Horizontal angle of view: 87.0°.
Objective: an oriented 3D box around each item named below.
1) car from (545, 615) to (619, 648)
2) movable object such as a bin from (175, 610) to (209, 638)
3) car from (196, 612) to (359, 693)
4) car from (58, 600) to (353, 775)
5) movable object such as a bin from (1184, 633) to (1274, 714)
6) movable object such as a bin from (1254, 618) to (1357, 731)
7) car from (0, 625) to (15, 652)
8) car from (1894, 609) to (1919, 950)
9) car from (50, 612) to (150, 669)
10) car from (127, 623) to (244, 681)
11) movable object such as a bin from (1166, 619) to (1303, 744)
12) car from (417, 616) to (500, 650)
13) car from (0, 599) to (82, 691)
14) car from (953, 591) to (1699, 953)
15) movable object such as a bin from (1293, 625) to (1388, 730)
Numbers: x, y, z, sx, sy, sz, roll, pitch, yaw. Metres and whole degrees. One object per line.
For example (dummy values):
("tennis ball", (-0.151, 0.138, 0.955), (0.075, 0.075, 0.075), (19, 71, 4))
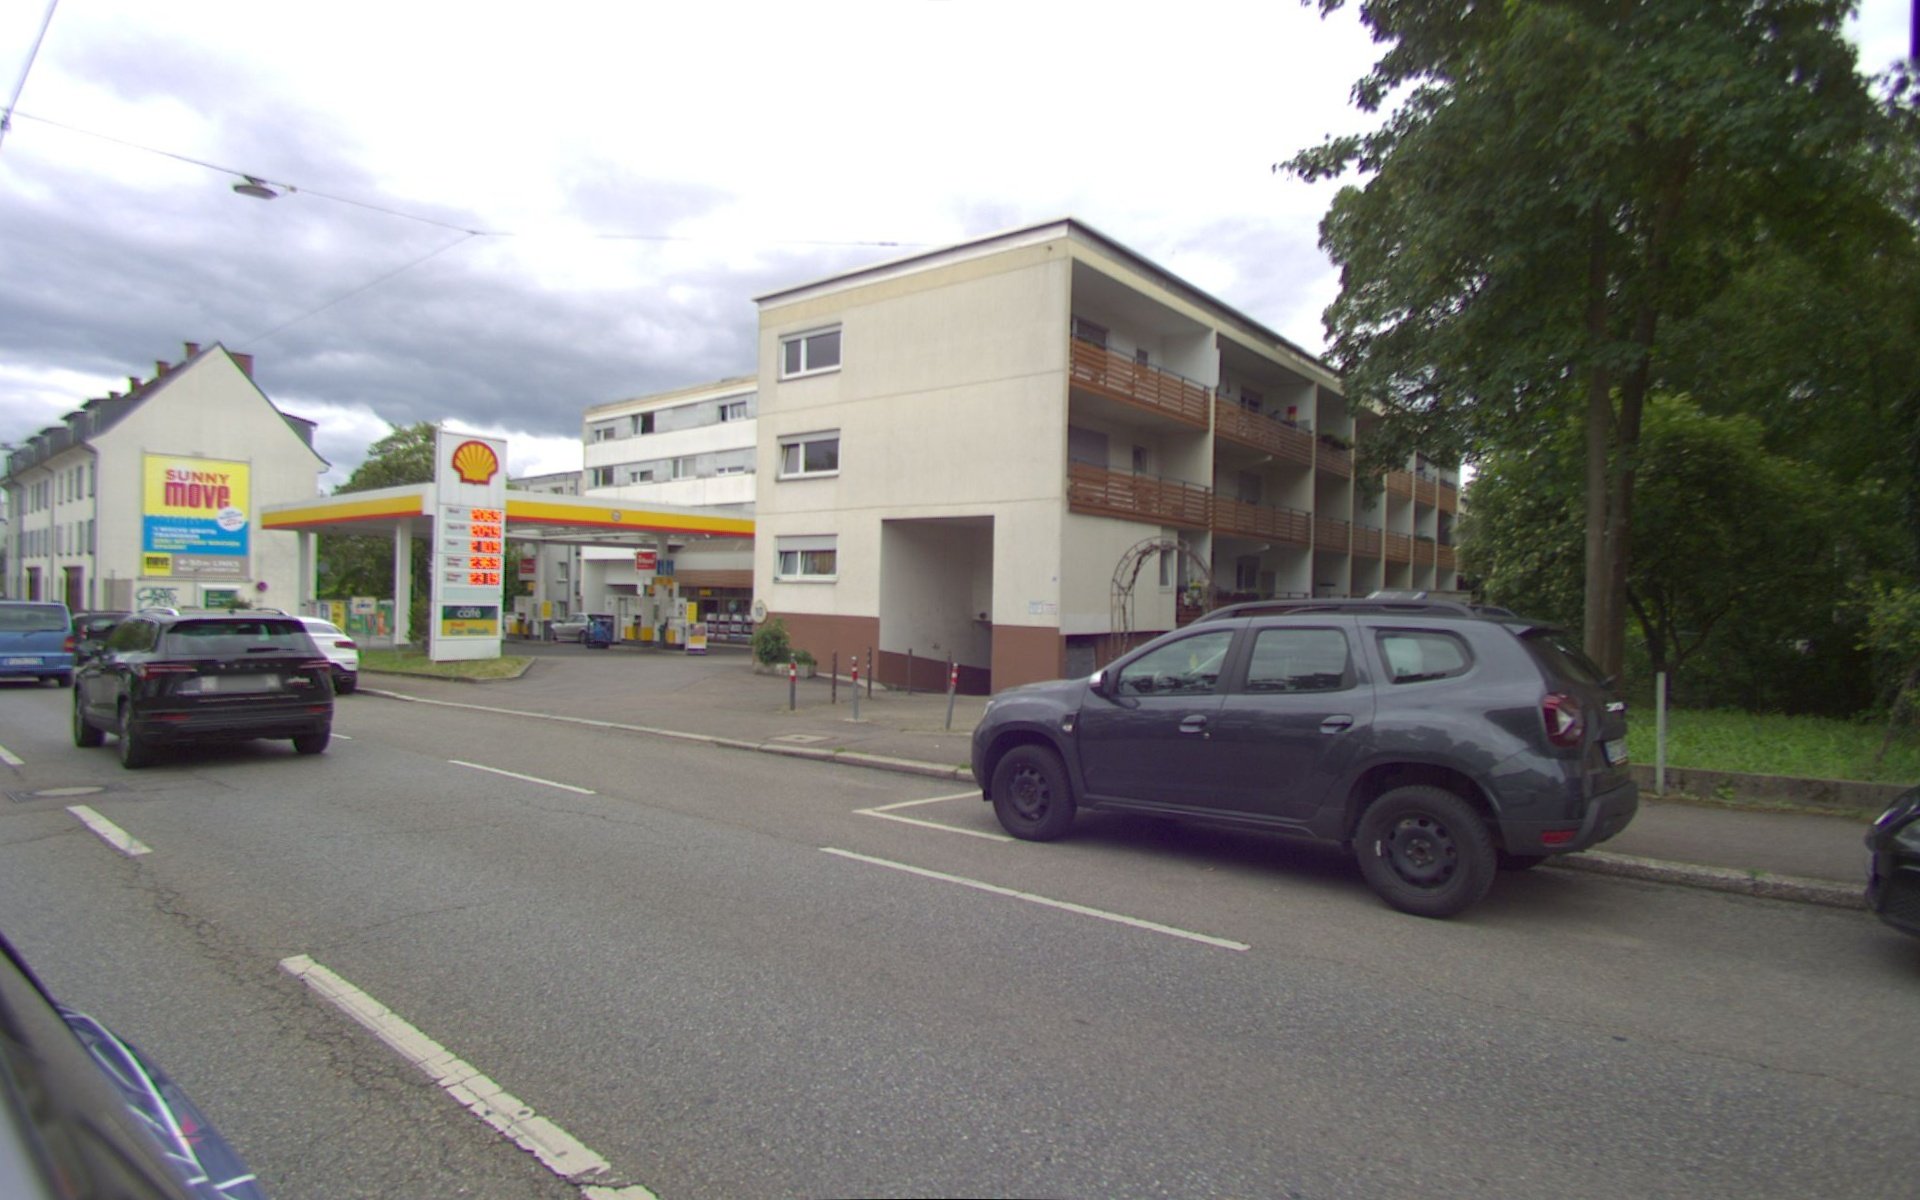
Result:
("car", (-17.758, 1.468, 47.492), (3.634, 1.431, 1.779), (-2, -1, 41))
("movable object such as a bin", (-42.210, 1.332, 55.617), (1.104, 1.550, 1.251), (-2, -3, 41))
("car", (-15.184, 1.108, 22.408), (4.698, 1.589, 1.895), (-1, -2, 42))
("car", (-8.581, 0.857, 11.379), (4.162, 1.602, 1.821), (-1, -2, 41))
("movable object such as a bin", (5.098, 1.357, 19.178), (1.396, 1.439, 0.901), (-1, -1, 39))
("movable object such as a bin", (4.742, 0.974, 13.859), (0.912, 1.439, 1.379), (-2, -1, 39))
("car", (-54.663, 2.165, 57.109), (3.602, 1.486, 1.531), (-2, -2, 41))
("car", (5.913, 0.787, 3.282), (4.095, 1.542, 1.734), (-1, -3, 39))
("car", (-29.855, 1.383, 35.072), (4.698, 1.849, 1.833), (-1, -3, 40))
("car", (-21.147, 1.376, 27.559), (4.744, 1.442, 1.778), (-2, -3, 44))
("movable object such as a bin", (3.470, 0.976, 12.766), (1.277, 1.439, 1.269), (-1, -1, 37))
("car", (-22.445, 1.453, 45.241), (4.415, 1.431, 1.779), (-2, -1, 41))
("car", (-21.420, 0.987, 22.751), (4.587, 1.915, 1.911), (-2, -2, 41))
("car", (2.121, 0.853, 6.667), (4.264, 1.621, 1.763), (-1, -4, 43))
("movable object such as a bin", (5.638, 1.102, 14.968), (0.912, 1.439, 1.379), (-2, -1, 39))
